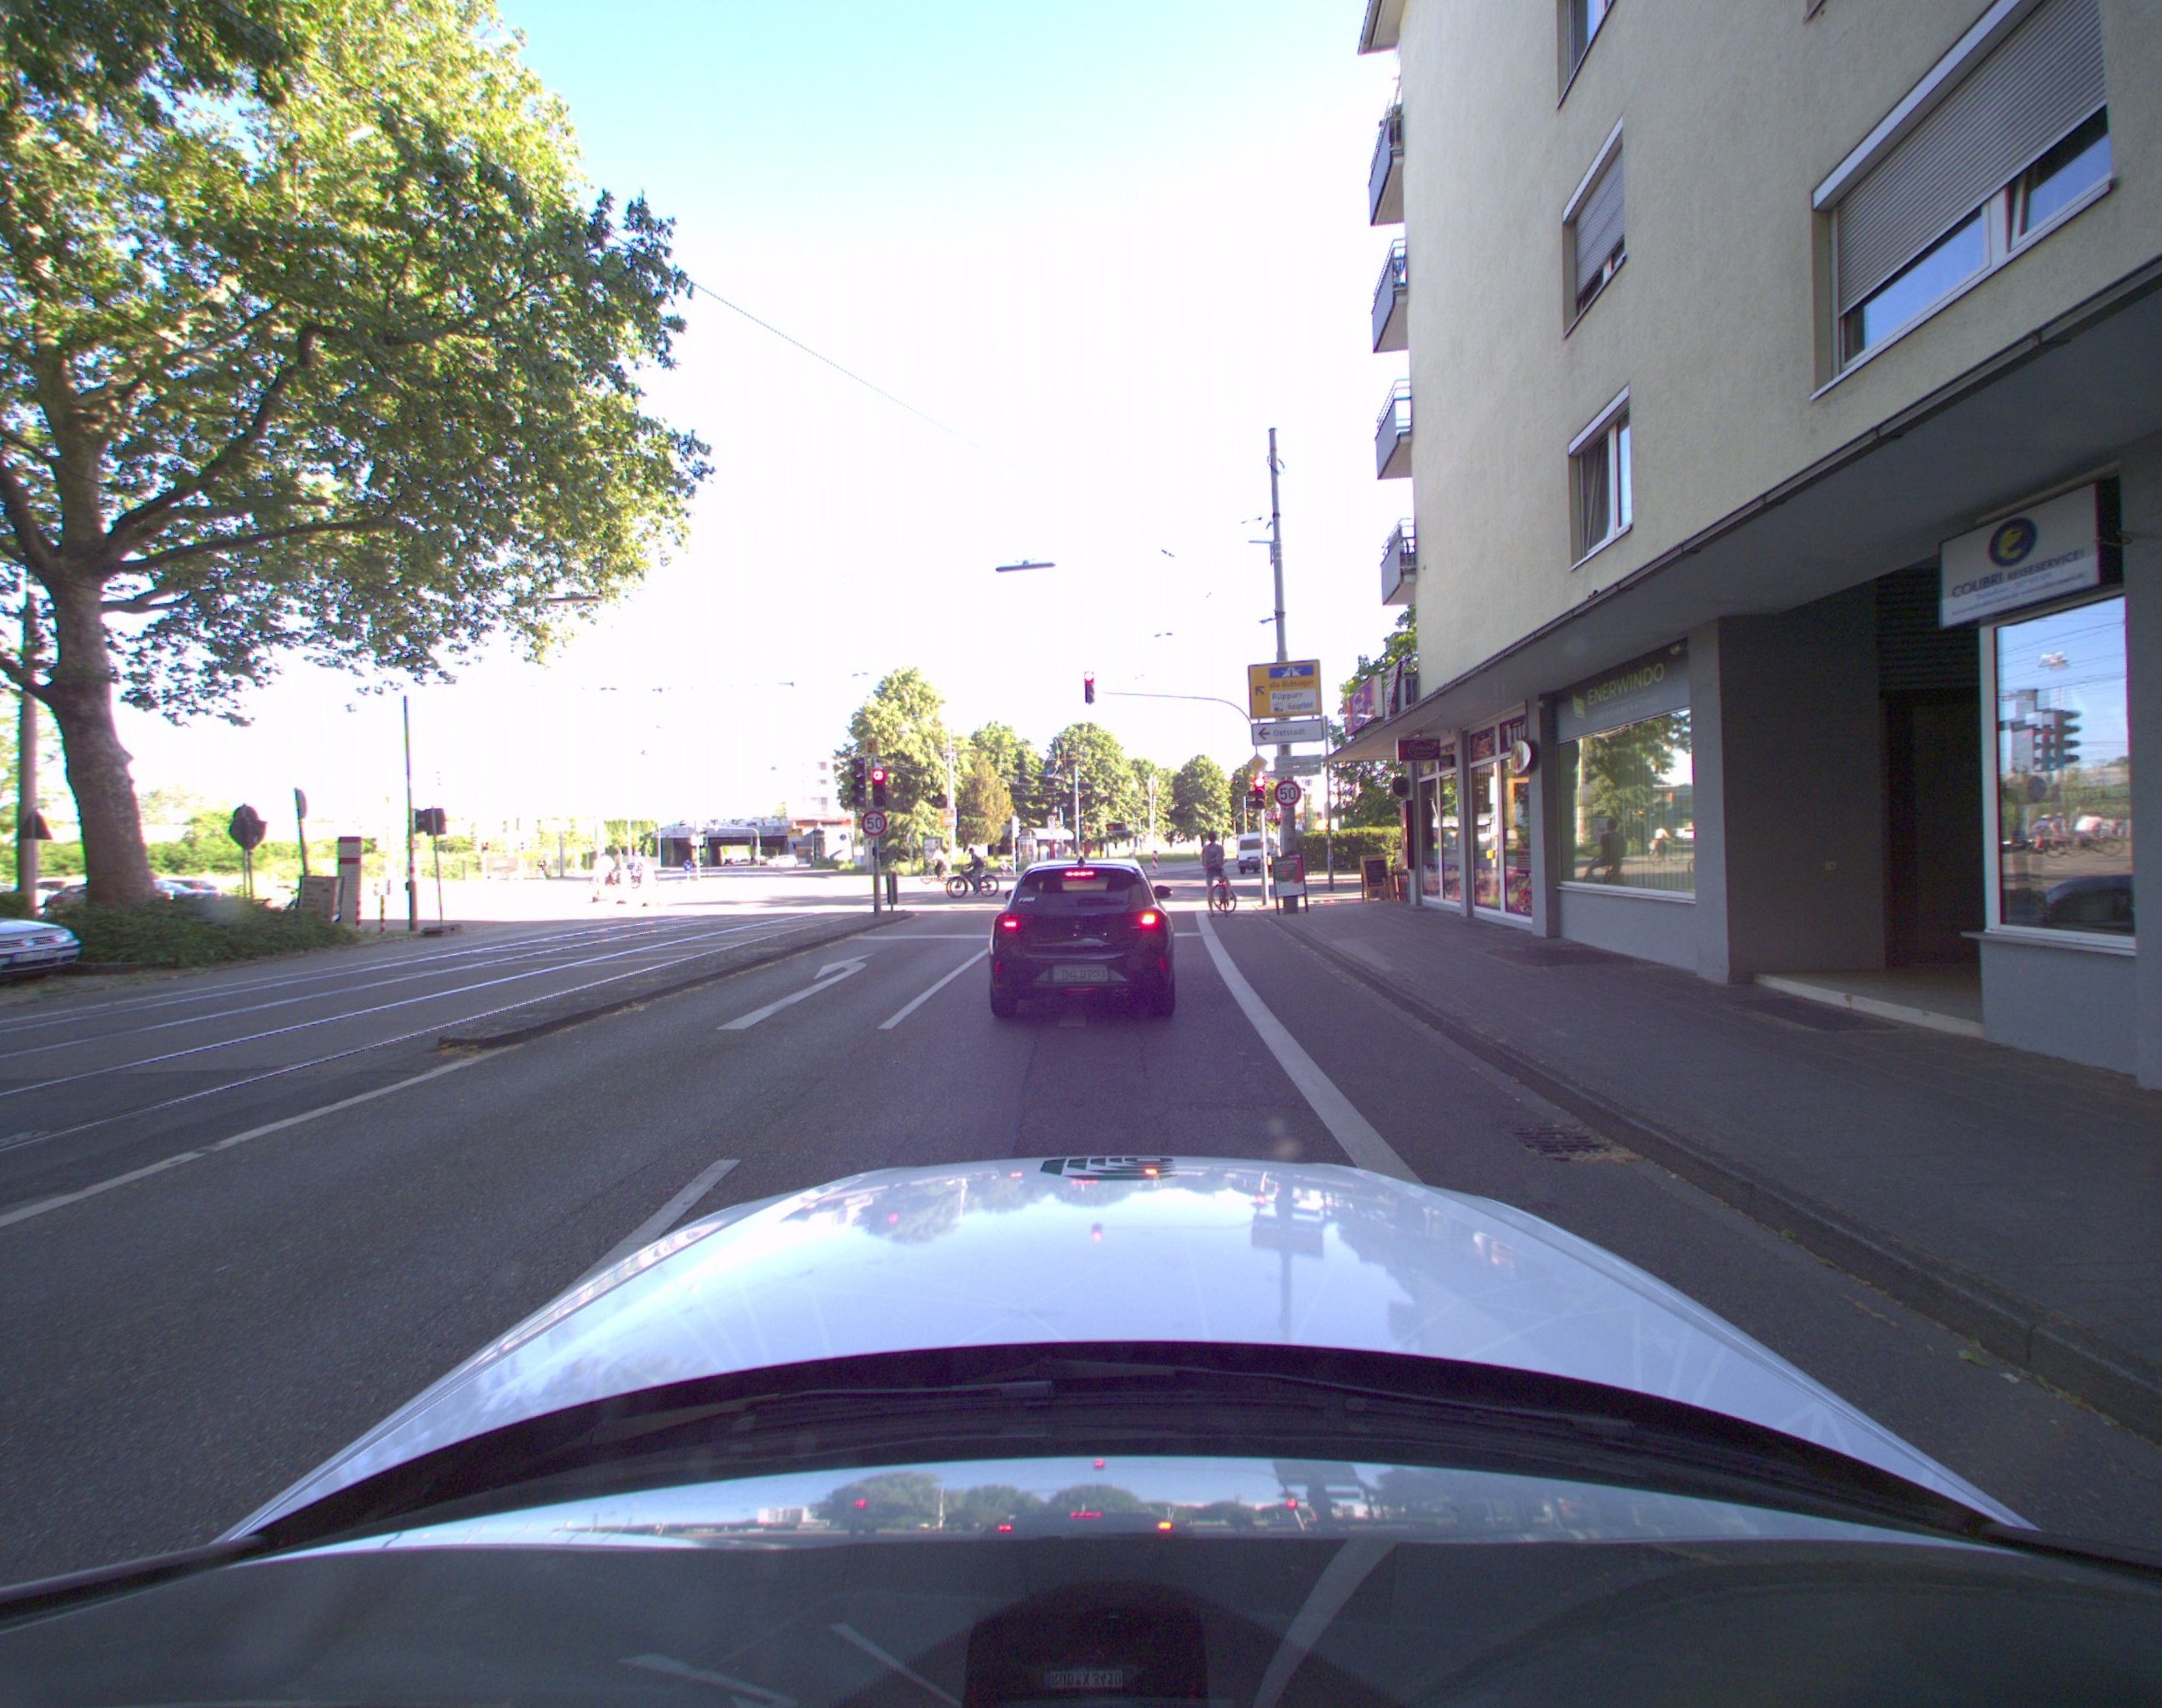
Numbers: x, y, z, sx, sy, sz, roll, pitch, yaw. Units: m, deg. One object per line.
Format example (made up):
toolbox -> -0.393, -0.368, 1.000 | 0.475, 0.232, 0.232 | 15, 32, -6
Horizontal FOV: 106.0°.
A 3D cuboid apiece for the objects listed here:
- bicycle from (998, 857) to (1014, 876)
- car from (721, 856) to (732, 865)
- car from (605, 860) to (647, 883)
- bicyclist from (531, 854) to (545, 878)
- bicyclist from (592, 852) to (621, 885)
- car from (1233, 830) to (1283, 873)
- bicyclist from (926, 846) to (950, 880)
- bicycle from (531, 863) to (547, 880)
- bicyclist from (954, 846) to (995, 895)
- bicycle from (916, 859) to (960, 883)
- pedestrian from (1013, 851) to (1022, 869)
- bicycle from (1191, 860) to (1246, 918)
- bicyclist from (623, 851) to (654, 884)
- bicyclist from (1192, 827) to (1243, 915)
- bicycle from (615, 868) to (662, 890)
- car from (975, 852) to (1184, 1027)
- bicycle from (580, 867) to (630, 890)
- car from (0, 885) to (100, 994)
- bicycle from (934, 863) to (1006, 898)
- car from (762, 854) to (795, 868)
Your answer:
bicycle -> -4.302, 0.729, 46.735 | 0.603, 1.031, 1.983 | -2, 0, 2
car -> -79.086, 1.490, 181.507 | 2.223, 1.823, 4.114 | -2, 0, -24
car -> -31.283, 1.165, 56.100 | 1.830, 1.519, 3.870 | 0, 0, -18
bicyclist -> -35.956, 0.811, 53.948 | 0.638, 1.563, 0.825 | -2, 0, -27
bicyclist -> -24.763, 0.741, 42.525 | 0.920, 1.707, 0.878 | -2, 0, 11
car -> 10.149, -0.152, 46.380 | 2.046, 2.248, 4.912 | -2, 0, 20
bicyclist -> -6.836, 0.415, 39.032 | 0.853, 1.595, 0.653 | -2, 0, 23
bicycle -> -35.925, 1.165, 54.000 | 0.584, 1.060, 2.024 | -2, 0, -27
bicyclist -> -3.531, 0.530, 26.847 | 1.117, 1.520, 0.915 | -2, 0, -21
bicycle -> -6.852, 0.817, 39.036 | 2.036, 1.094, 0.596 | -2, 0, 23
pedestrian -> -5.795, 0.527, 74.386 | 0.633, 1.630, 0.573 | 0, -1, 9
bicycle -> 2.992, 0.733, 17.910 | 0.857, 1.153, 2.172 | -2, 0, 1
bicyclist -> -21.724, 0.673, 39.975 | 1.003, 1.570, 0.802 | -2, 0, 13
bicyclist -> 2.983, 0.359, 17.860 | 0.938, 1.851, 0.864 | -2, 0, 1
bicycle -> -21.704, 1.218, 39.980 | 2.044, 0.984, 0.675 | -2, 0, 12
car -> 0.063, 0.704, 8.847 | 1.720, 1.429, 4.189 | -1, 0, 2
bicycle -> -24.859, 1.272, 42.539 | 2.278, 1.084, 0.803 | -2, 0, 11
car -> -16.956, 1.199, 11.360 | 4.497, 1.429, 1.676 | 0, 0, 0
bicycle -> -3.660, 0.860, 26.816 | 2.199, 1.033, 0.828 | -2, 0, -21
car -> -43.221, 1.008, 116.385 | 4.196, 1.805, 1.722 | -2, 0, -26
